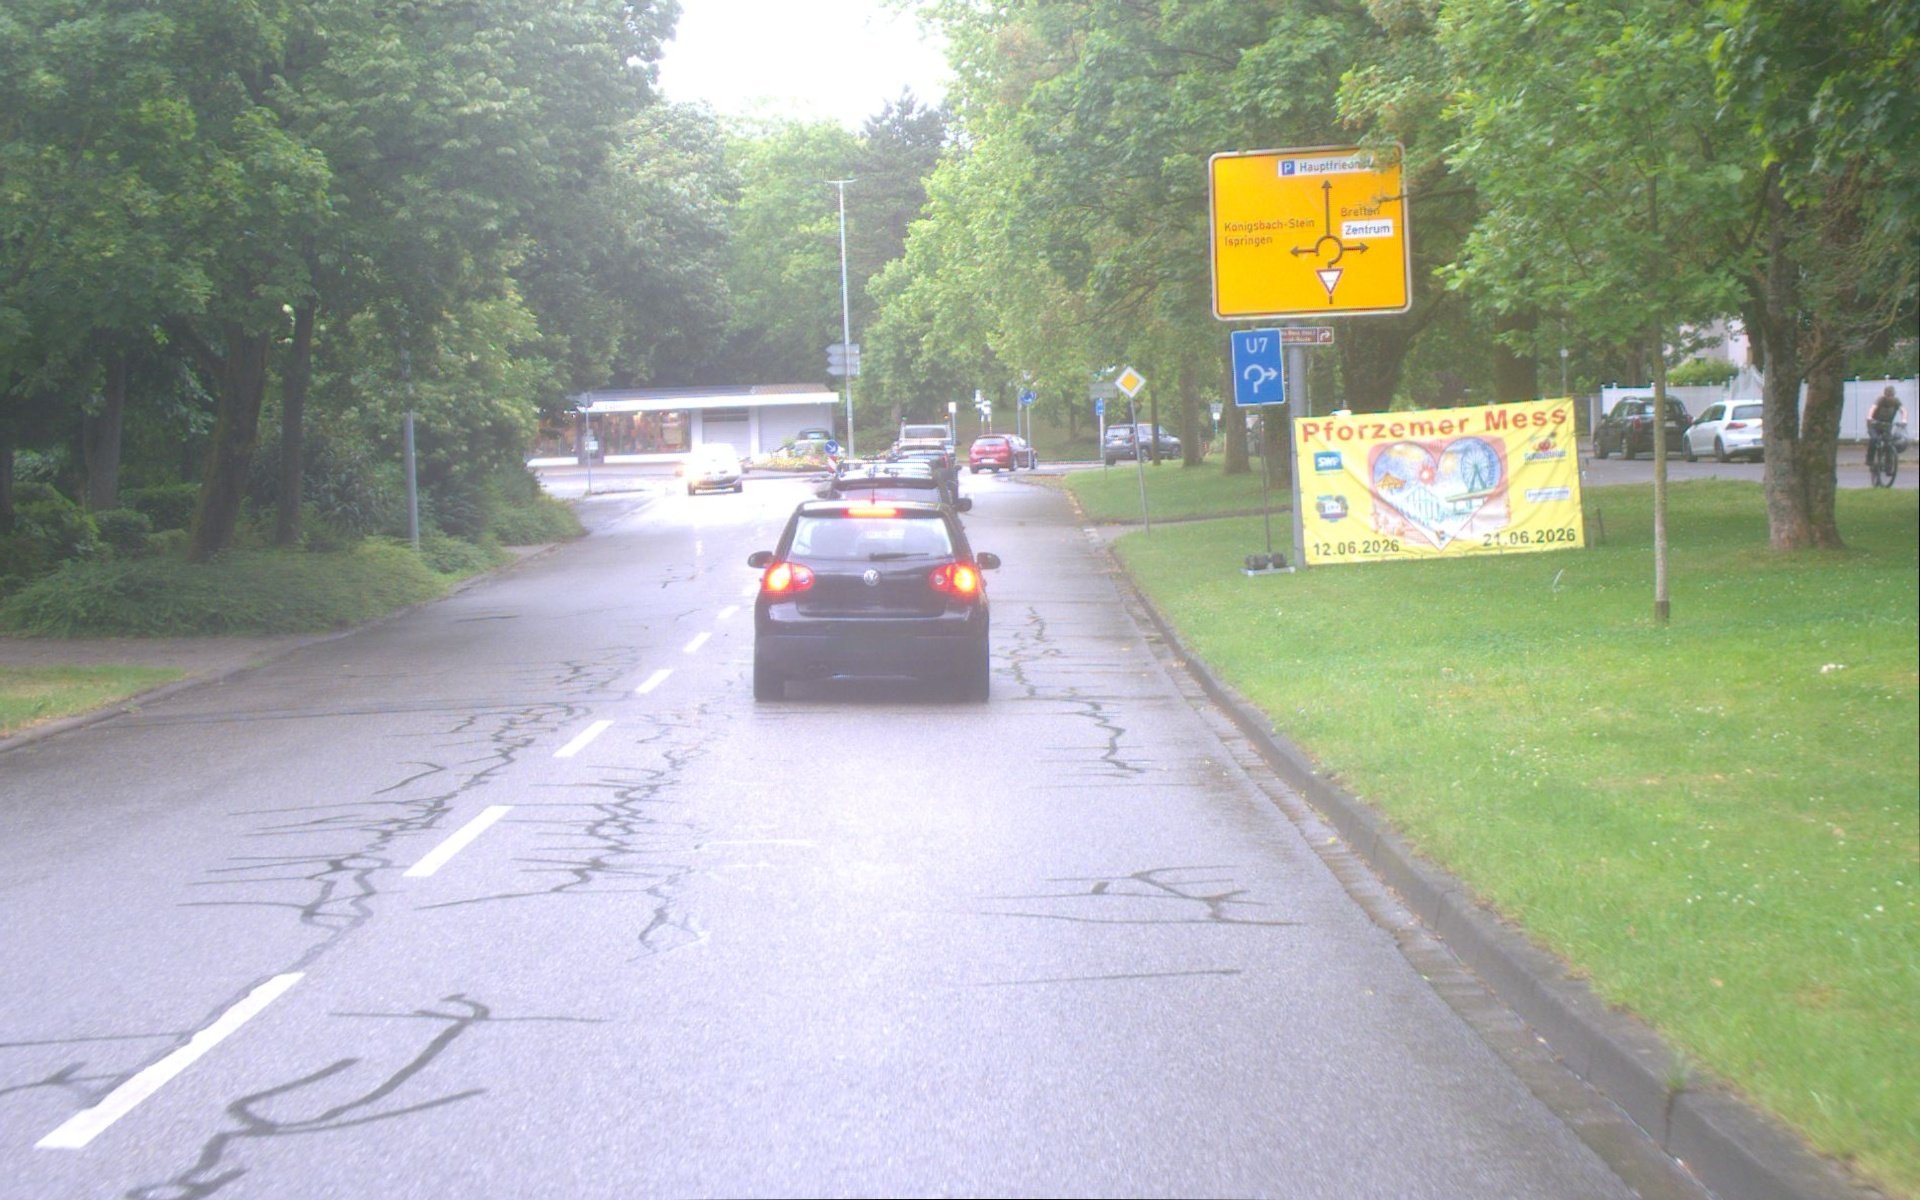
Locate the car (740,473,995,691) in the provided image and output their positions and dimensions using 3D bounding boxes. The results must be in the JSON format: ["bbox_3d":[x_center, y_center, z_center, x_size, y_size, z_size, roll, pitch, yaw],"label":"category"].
[{"bbox_3d":[-0.657,-0.195,26.174,1.798,1.510,3.754,0,3,0],"label":"car"}]

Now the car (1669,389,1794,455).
[{"bbox_3d":[18.018,-4.187,80.442,1.616,1.404,4.012,-4,4,-5],"label":"car"}]

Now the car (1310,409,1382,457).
[{"bbox_3d":[12.695,-5.508,113.207,1.803,1.401,4.001,-4,4,0],"label":"car"}]

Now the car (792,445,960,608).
[{"bbox_3d":[-0.967,-0.934,41.461,1.855,1.778,4.001,-2,3,0],"label":"car"}]

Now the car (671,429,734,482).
[{"bbox_3d":[-8.367,-4.721,112.090,1.763,1.608,4.142,-3,3,-1],"label":"car"}]

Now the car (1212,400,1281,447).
[{"bbox_3d":[9.382,-5.808,112.913,1.803,1.380,4.001,-4,4,0],"label":"car"}]

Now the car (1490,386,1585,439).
[{"bbox_3d":[16.816,-5.479,100.286,1.801,1.406,4.114,-3,4,-3],"label":"car"}]

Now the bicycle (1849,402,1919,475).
[{"bbox_3d":[14.934,-2.605,55.612,0.595,1.134,1.864,-2,2,0],"label":"bicycle"}]

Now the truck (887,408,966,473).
[{"bbox_3d":[-1.125,-5.224,112.699,2.416,1.997,5.152,-2,3,-2],"label":"truck"}]

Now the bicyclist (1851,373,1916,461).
[{"bbox_3d":[14.922,-2.953,55.578,0.744,1.386,1.000,-2,2,0],"label":"bicyclist"}]

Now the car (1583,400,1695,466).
[{"bbox_3d":[17.346,-4.300,87.993,1.801,1.524,4.114,-3,4,-3],"label":"car"}]
